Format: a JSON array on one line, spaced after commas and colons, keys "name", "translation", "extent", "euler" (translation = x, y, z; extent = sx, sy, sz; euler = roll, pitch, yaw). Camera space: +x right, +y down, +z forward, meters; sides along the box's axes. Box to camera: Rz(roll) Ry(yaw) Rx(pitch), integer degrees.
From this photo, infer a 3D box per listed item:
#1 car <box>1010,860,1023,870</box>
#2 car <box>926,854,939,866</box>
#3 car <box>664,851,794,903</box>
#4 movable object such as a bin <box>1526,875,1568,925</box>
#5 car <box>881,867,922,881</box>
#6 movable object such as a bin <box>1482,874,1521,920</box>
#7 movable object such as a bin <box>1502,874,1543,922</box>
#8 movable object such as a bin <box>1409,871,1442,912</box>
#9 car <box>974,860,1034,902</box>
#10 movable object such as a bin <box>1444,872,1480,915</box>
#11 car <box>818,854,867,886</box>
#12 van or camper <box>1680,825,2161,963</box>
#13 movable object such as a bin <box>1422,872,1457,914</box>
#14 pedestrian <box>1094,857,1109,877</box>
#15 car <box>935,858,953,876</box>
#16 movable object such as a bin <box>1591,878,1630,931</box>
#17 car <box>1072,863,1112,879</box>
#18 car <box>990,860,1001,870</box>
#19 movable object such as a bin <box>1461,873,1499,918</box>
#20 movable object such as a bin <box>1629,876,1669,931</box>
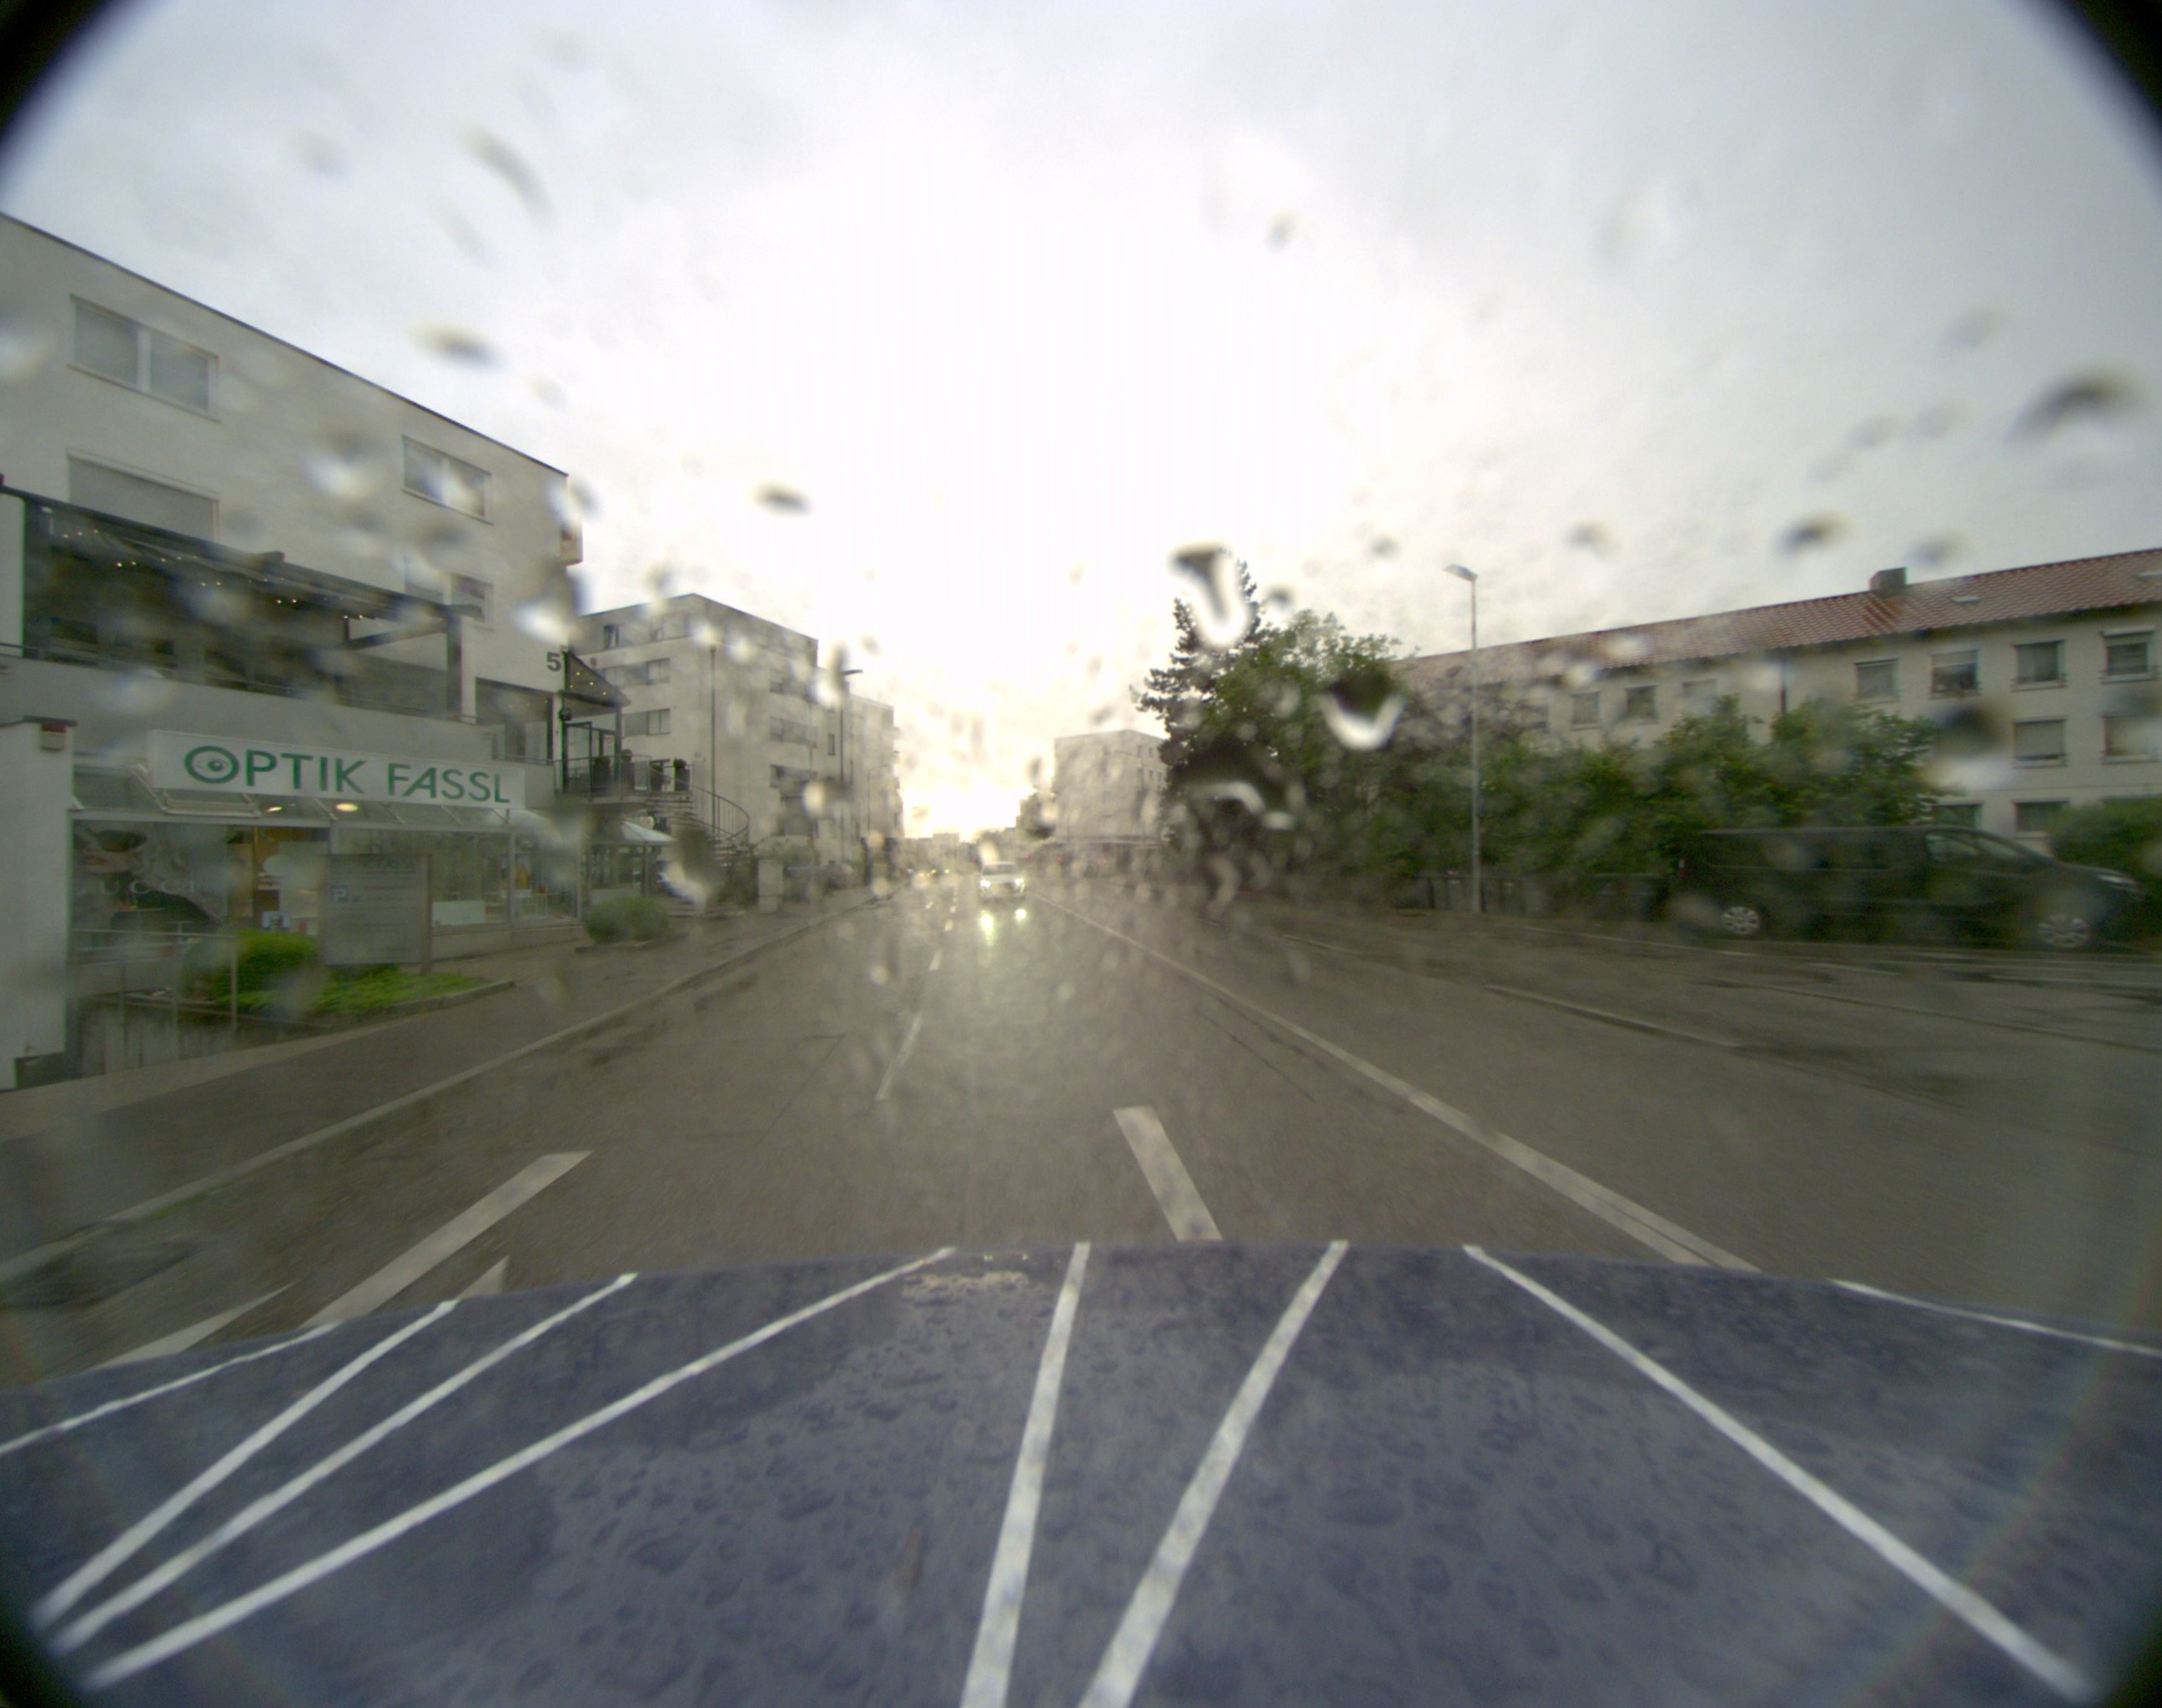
[{"name": "car", "translation": [-10.621, 1.829, 124.745], "extent": [1.704, 1.400, 3.997], "euler": [2, -2, -12]}, {"name": "car", "translation": [-26.351, 1.031, 134.520], "extent": [2.000, 2.001, 3.998], "euler": [-1, -2, -8]}, {"name": "car", "translation": [-14.587, 0.927, 31.790], "extent": [1.995, 2.001, 4.788], "euler": [-1, -1, 24]}, {"name": "movable object such as a bin", "translation": [10.812, 1.055, 17.640], "extent": [0.601, 1.111, 0.600], "euler": [0, 0, -20]}, {"name": "car", "translation": [-20.903, 2.365, 88.337], "extent": [4.262, 1.485, 1.876], "euler": [-2, -2, 19]}, {"name": "movable object such as a bin", "translation": [10.402, 1.056, 18.814], "extent": [0.601, 1.111, 0.600], "euler": [0, 0, -20]}, {"name": "movable object such as a bin", "translation": [10.582, 1.043, 18.223], "extent": [0.601, 1.111, 0.600], "euler": [0, 0, -20]}, {"name": "movable object such as a bin", "translation": [9.604, 1.036, 21.193], "extent": [0.601, 1.112, 0.600], "euler": [-1, 1, -10]}, {"name": "car", "translation": [-3.029, 0.998, 28.994], "extent": [1.831, 1.431, 4.342], "euler": [-1, -1, -11]}, {"name": "movable object such as a bin", "translation": [10.016, 1.032, 19.991], "extent": [0.601, 1.111, 0.600], "euler": [-1, 0, -10]}, {"name": "car", "translation": [-13.896, 0.931, 44.545], "extent": [2.000, 1.775, 4.688], "euler": [0, -1, -8]}, {"name": "van or camper", "translation": [13.507, 0.644, 12.885], "extent": [5.203, 1.913, 2.005], "euler": [-2, -2, 38]}, {"name": "movable object such as a bin", "translation": [9.706, 1.049, 20.579], "extent": [0.601, 1.112, 0.600], "euler": [-1, 0, -10]}, {"name": "pedestrian", "translation": [1.684, 1.048, 61.975], "extent": [0.872, 1.597, 1.102], "euler": [-1, 1, -16]}, {"name": "car", "translation": [-15.900, 1.571, 88.288], "extent": [2.000, 2.001, 3.998], "euler": [-1, -2, -8]}, {"name": "movable object such as a bin", "translation": [11.510, 1.080, 16.517], "extent": [0.602, 1.111, 0.599], "euler": [0, 0, -43]}, {"name": "car", "translation": [1.178, 1.728, 78.485], "extent": [1.994, 1.537, 4.481], "euler": [1, -1, 33]}, {"name": "car", "translation": [-14.180, 1.851, 126.262], "extent": [1.808, 1.547, 4.317], "euler": [-1, -2, -6]}, {"name": "movable object such as a bin", "translation": [10.181, 1.055, 19.392], "extent": [0.601, 1.111, 0.600], "euler": [0, 0, -20]}, {"name": "movable object such as a bin", "translation": [12.111, 1.036, 16.203], "extent": [0.602, 1.111, 0.599], "euler": [0, 0, -43]}]
